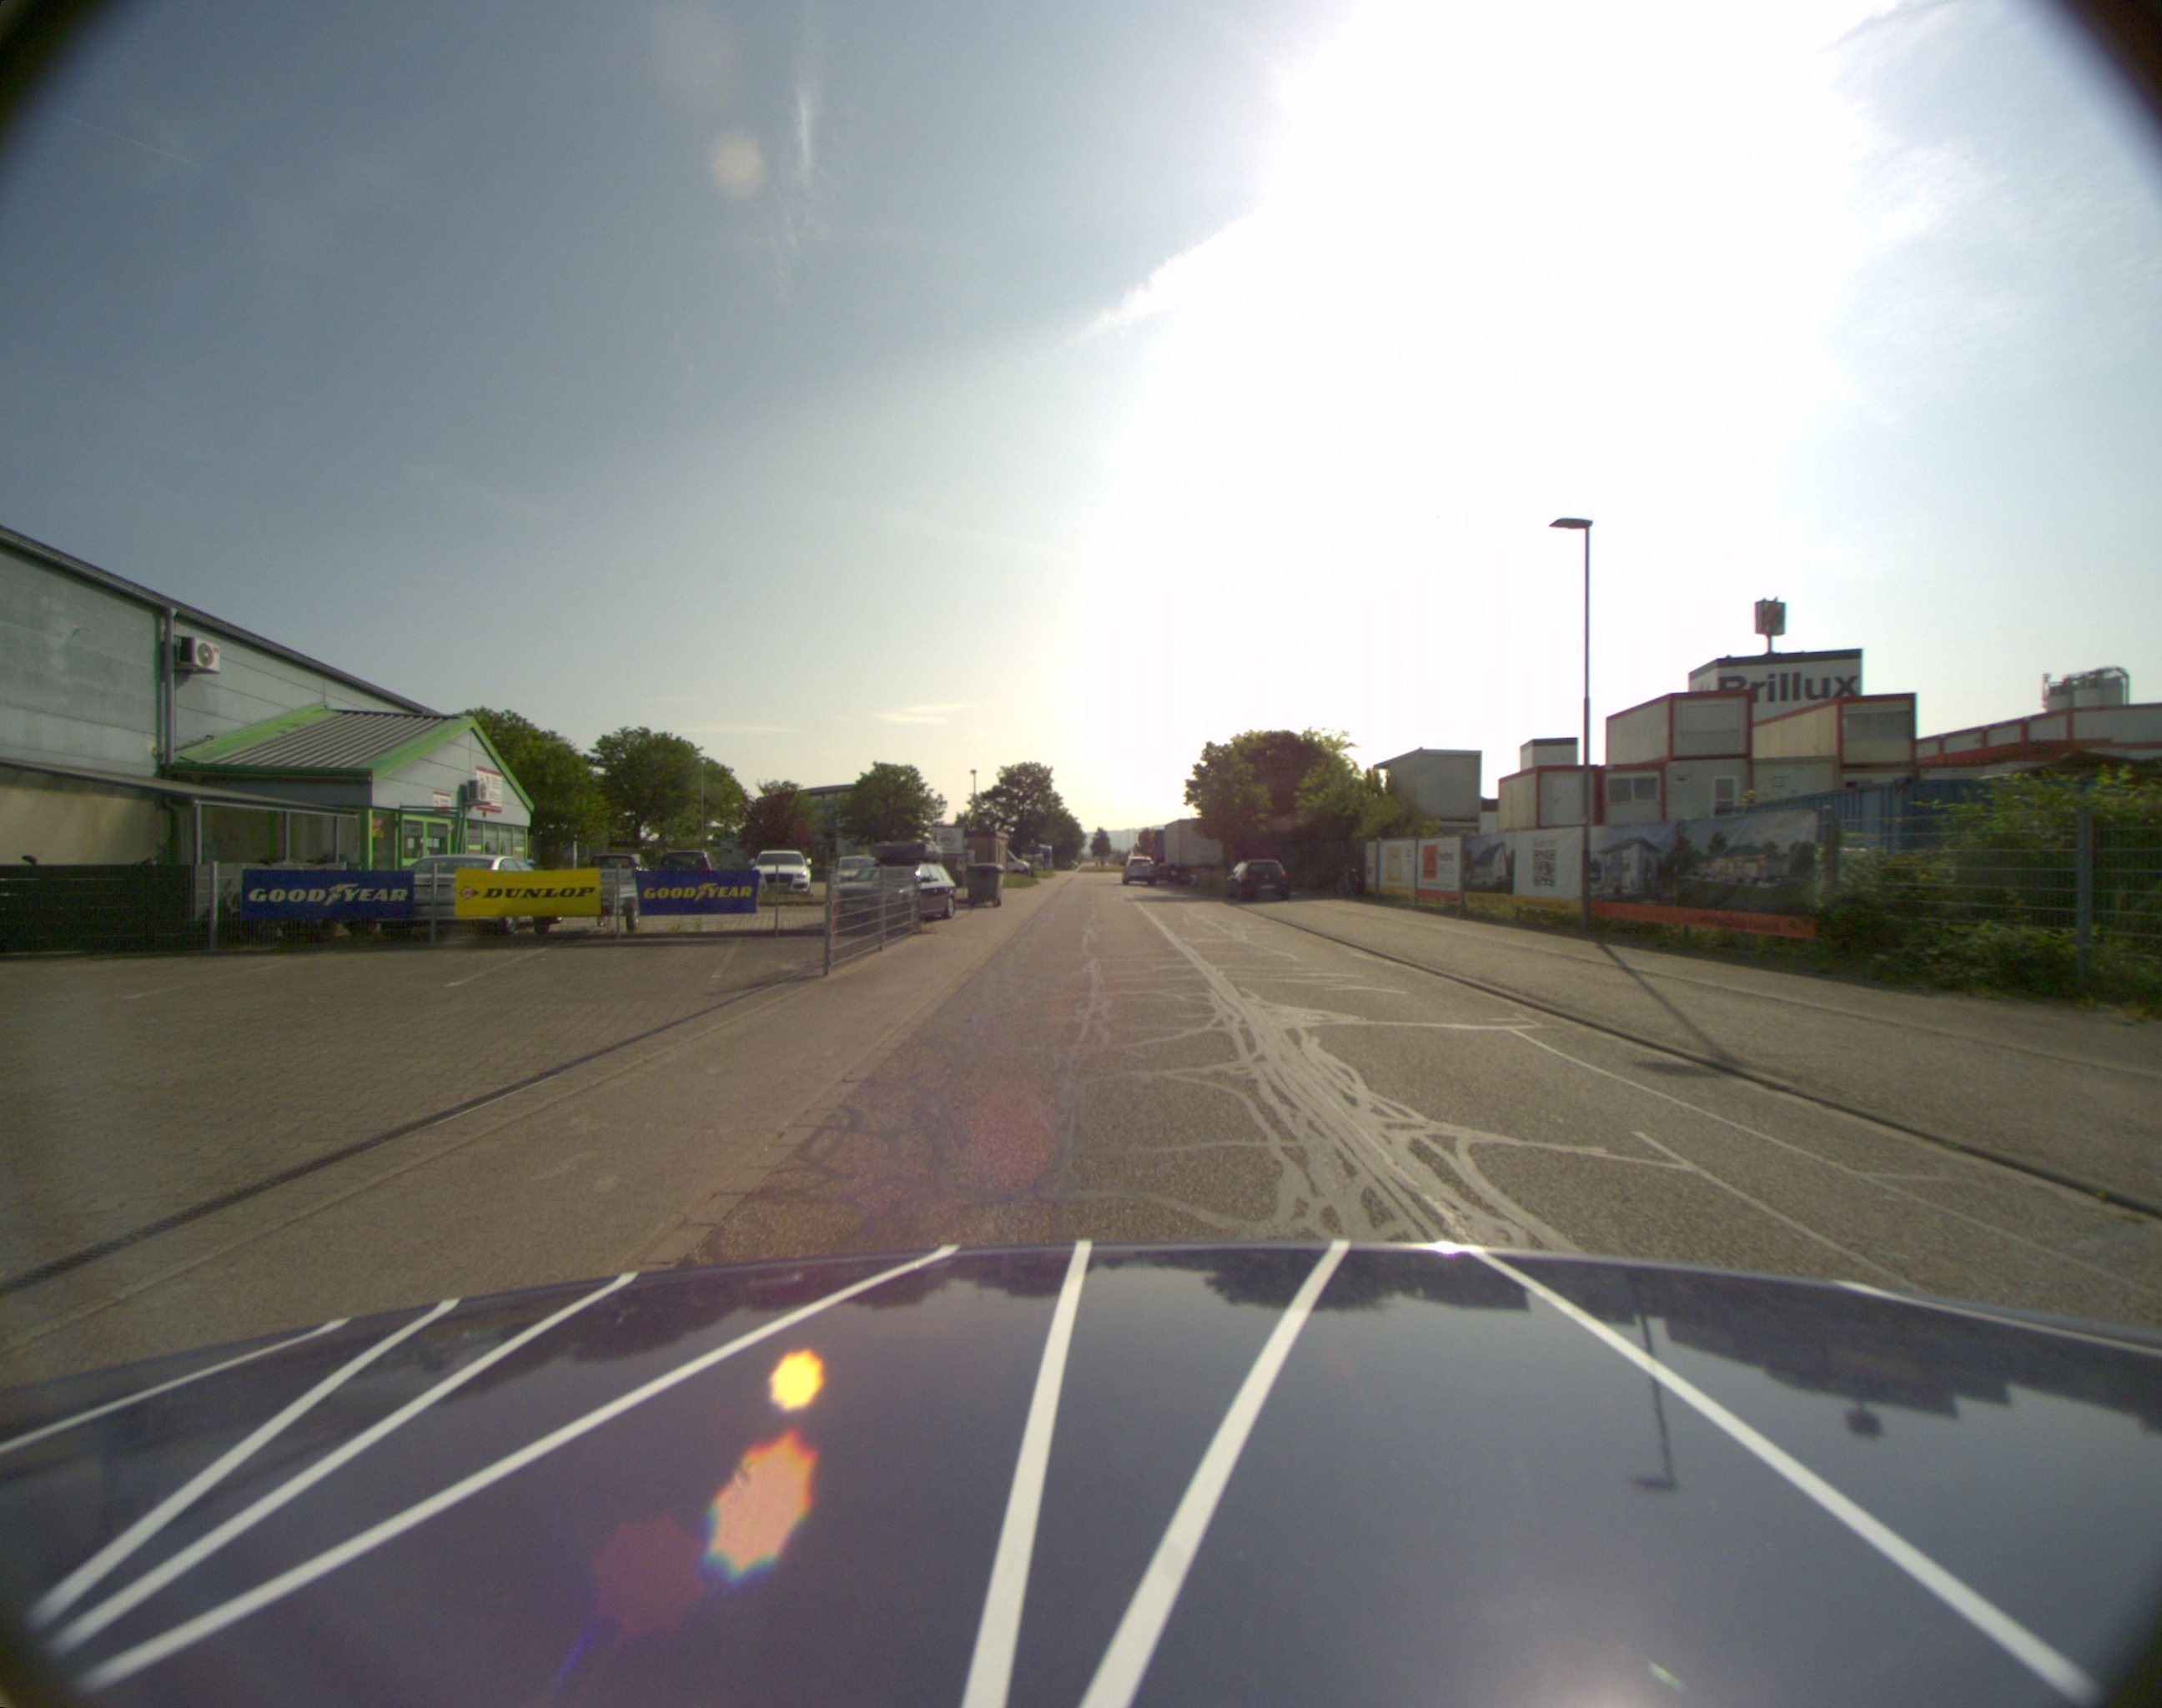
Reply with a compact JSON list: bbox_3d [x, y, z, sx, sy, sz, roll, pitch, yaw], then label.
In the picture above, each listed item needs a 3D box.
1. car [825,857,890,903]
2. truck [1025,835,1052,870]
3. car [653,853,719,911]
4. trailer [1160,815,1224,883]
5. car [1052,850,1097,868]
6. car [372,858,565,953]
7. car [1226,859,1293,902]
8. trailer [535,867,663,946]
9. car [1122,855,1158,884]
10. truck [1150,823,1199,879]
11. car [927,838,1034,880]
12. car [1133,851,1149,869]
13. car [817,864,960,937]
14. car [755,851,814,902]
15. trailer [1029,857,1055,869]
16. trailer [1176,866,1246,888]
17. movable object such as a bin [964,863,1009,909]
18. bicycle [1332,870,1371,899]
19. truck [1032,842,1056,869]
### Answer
[{"bbox_3d":[-7.872,0.832,26.568,1.695,1.457,4.254,0,0,-23],"label":"car"},{"bbox_3d":[-5.021,-0.145,91.270,2.559,3.958,8.581,2,0,1],"label":"truck"},{"bbox_3d":[-12.576,0.839,24.343,1.646,1.710,3.207,0,0,-23],"label":"car"},{"bbox_3d":[6.842,-0.278,48.388,2.706,3.861,9.765,-1,0,1],"label":"trailer"},{"bbox_3d":[-1.205,0.978,142.539,8.151,3.217,2.663,-1,0,-4],"label":"car"},{"bbox_3d":[-11.157,0.821,14.210,1.646,1.457,4.452,0,0,-23],"label":"car"},{"bbox_3d":[6.594,0.942,28.472,1.691,1.461,4.094,0,0,2],"label":"car"},{"bbox_3d":[-8.934,0.901,14.307,1.496,1.241,2.972,-1,0,-22],"label":"trailer"},{"bbox_3d":[3.446,0.883,45.130,1.816,1.617,4.249,1,0,0],"label":"car"},{"bbox_3d":[7.003,-0.189,58.073,2.719,3.861,9.636,-1,0,1],"label":"truck"},{"bbox_3d":[-6.638,0.307,49.955,6.748,2.524,2.278,-1,0,-14],"label":"car"},{"bbox_3d":[8.994,0.877,114.211,1.998,2.532,6.990,1,0,1],"label":"car"},{"bbox_3d":[-4.088,0.920,16.897,1.677,1.360,4.395,0,0,6],"label":"car"},{"bbox_3d":[-10.036,0.689,25.576,1.723,1.563,4.125,0,0,-23],"label":"car"},{"bbox_3d":[-4.946,1.083,99.099,2.553,1.383,14.136,0,0,1],"label":"trailer"},{"bbox_3d":[6.781,1.189,40.386,2.655,0.979,6.243,1,0,0],"label":"trailer"},{"bbox_3d":[-2.953,0.985,23.832,1.083,1.345,1.506,3,0,4],"label":"movable object such as a bin"},{"bbox_3d":[9.888,1.091,27.828,0.563,0.967,2.452,0,0,0],"label":"bicycle"},{"bbox_3d":[-5.481,0.249,113.586,3.044,3.916,10.578,0,0,0],"label":"truck"}]
